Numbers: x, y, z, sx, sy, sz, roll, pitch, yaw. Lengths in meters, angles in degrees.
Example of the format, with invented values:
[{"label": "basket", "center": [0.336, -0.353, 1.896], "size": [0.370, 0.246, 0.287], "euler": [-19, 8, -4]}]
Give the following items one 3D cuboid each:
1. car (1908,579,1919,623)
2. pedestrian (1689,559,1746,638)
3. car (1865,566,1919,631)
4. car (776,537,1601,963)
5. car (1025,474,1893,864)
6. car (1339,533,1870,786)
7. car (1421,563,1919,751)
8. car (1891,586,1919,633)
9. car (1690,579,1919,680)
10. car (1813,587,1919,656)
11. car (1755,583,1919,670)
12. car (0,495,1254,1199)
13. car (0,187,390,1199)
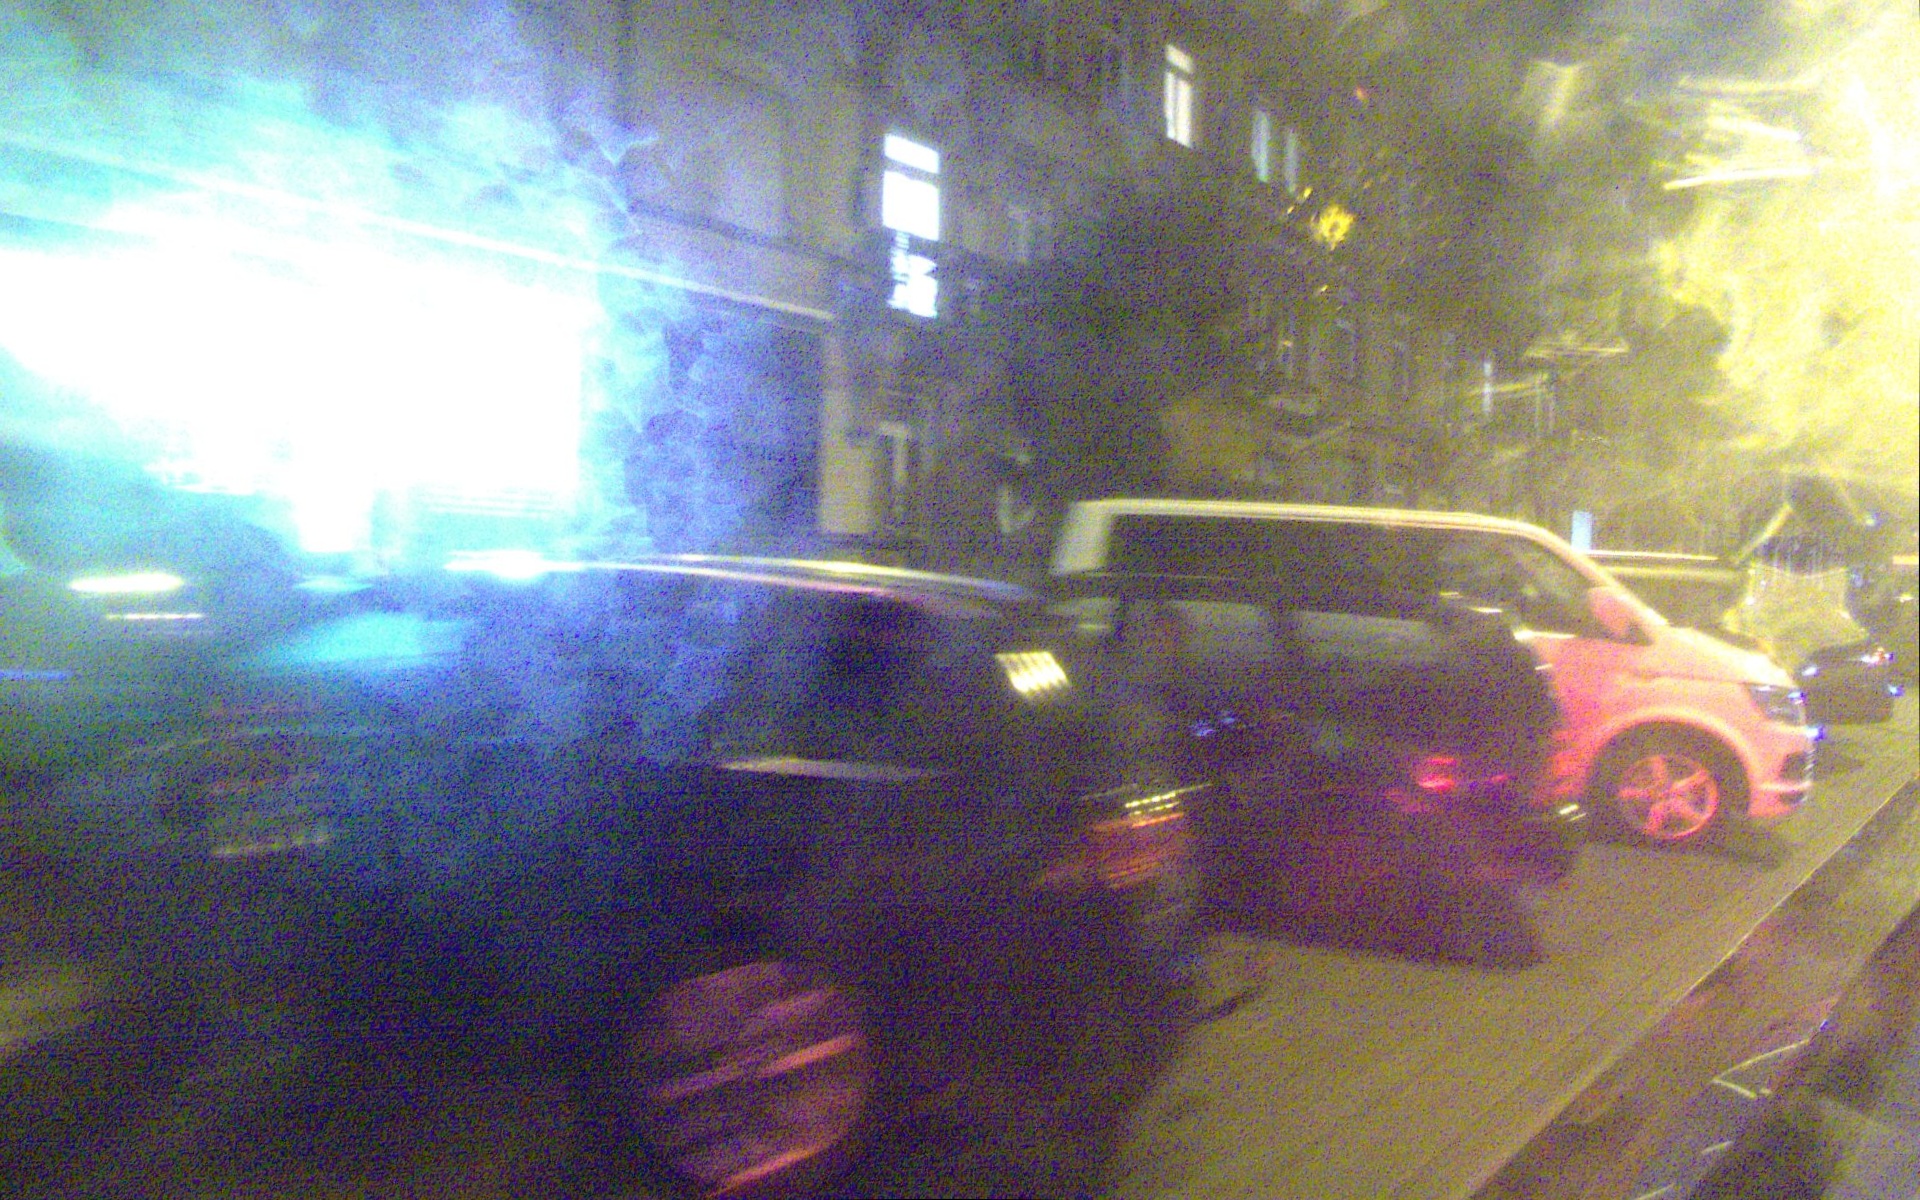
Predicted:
[{"label": "car", "center": [42.787, 0.185, 42.277], "size": [4.186, 1.881, 1.710], "euler": [3, 3, 14]}, {"label": "pedestrian", "center": [18.835, -0.057, 25.158], "size": [0.976, 1.878, 0.870], "euler": [0, 3, -43]}, {"label": "car", "center": [36.142, -0.010, 36.550], "size": [4.656, 2.275, 1.939], "euler": [2, 2, 14]}, {"label": "car", "center": [0.977, 0.521, 5.116], "size": [3.469, 1.512, 1.442], "euler": [3, 3, 18]}, {"label": "car", "center": [3.026, 0.287, 7.152], "size": [4.739, 2.074, 2.054], "euler": [2, 1, 19]}, {"label": "car", "center": [5.227, 0.367, 8.803], "size": [3.523, 1.732, 1.635], "euler": [4, 3, 21]}, {"label": "car", "center": [7.101, 0.458, 10.523], "size": [3.950, 1.510, 1.724], "euler": [3, 3, 19]}, {"label": "car", "center": [34.229, 0.391, 34.418], "size": [3.350, 1.560, 1.572], "euler": [2, 2, 14]}, {"label": "car", "center": [15.566, 0.498, 18.142], "size": [3.603, 1.600, 1.584], "euler": [3, 1, 17]}, {"label": "car", "center": [22.520, 0.525, 23.559], "size": [3.631, 1.478, 1.597], "euler": [3, 2, 15]}, {"label": "car", "center": [18.151, 0.510, 19.879], "size": [3.595, 1.600, 1.588], "euler": [1, 1, 11]}, {"label": "car", "center": [-0.953, 0.509, 3.287], "size": [3.514, 1.502, 1.719], "euler": [3, 3, 14]}, {"label": "car", "center": [-3.167, 0.277, 1.674], "size": [3.694, 1.862, 1.720], "euler": [3, 3, 13]}]
